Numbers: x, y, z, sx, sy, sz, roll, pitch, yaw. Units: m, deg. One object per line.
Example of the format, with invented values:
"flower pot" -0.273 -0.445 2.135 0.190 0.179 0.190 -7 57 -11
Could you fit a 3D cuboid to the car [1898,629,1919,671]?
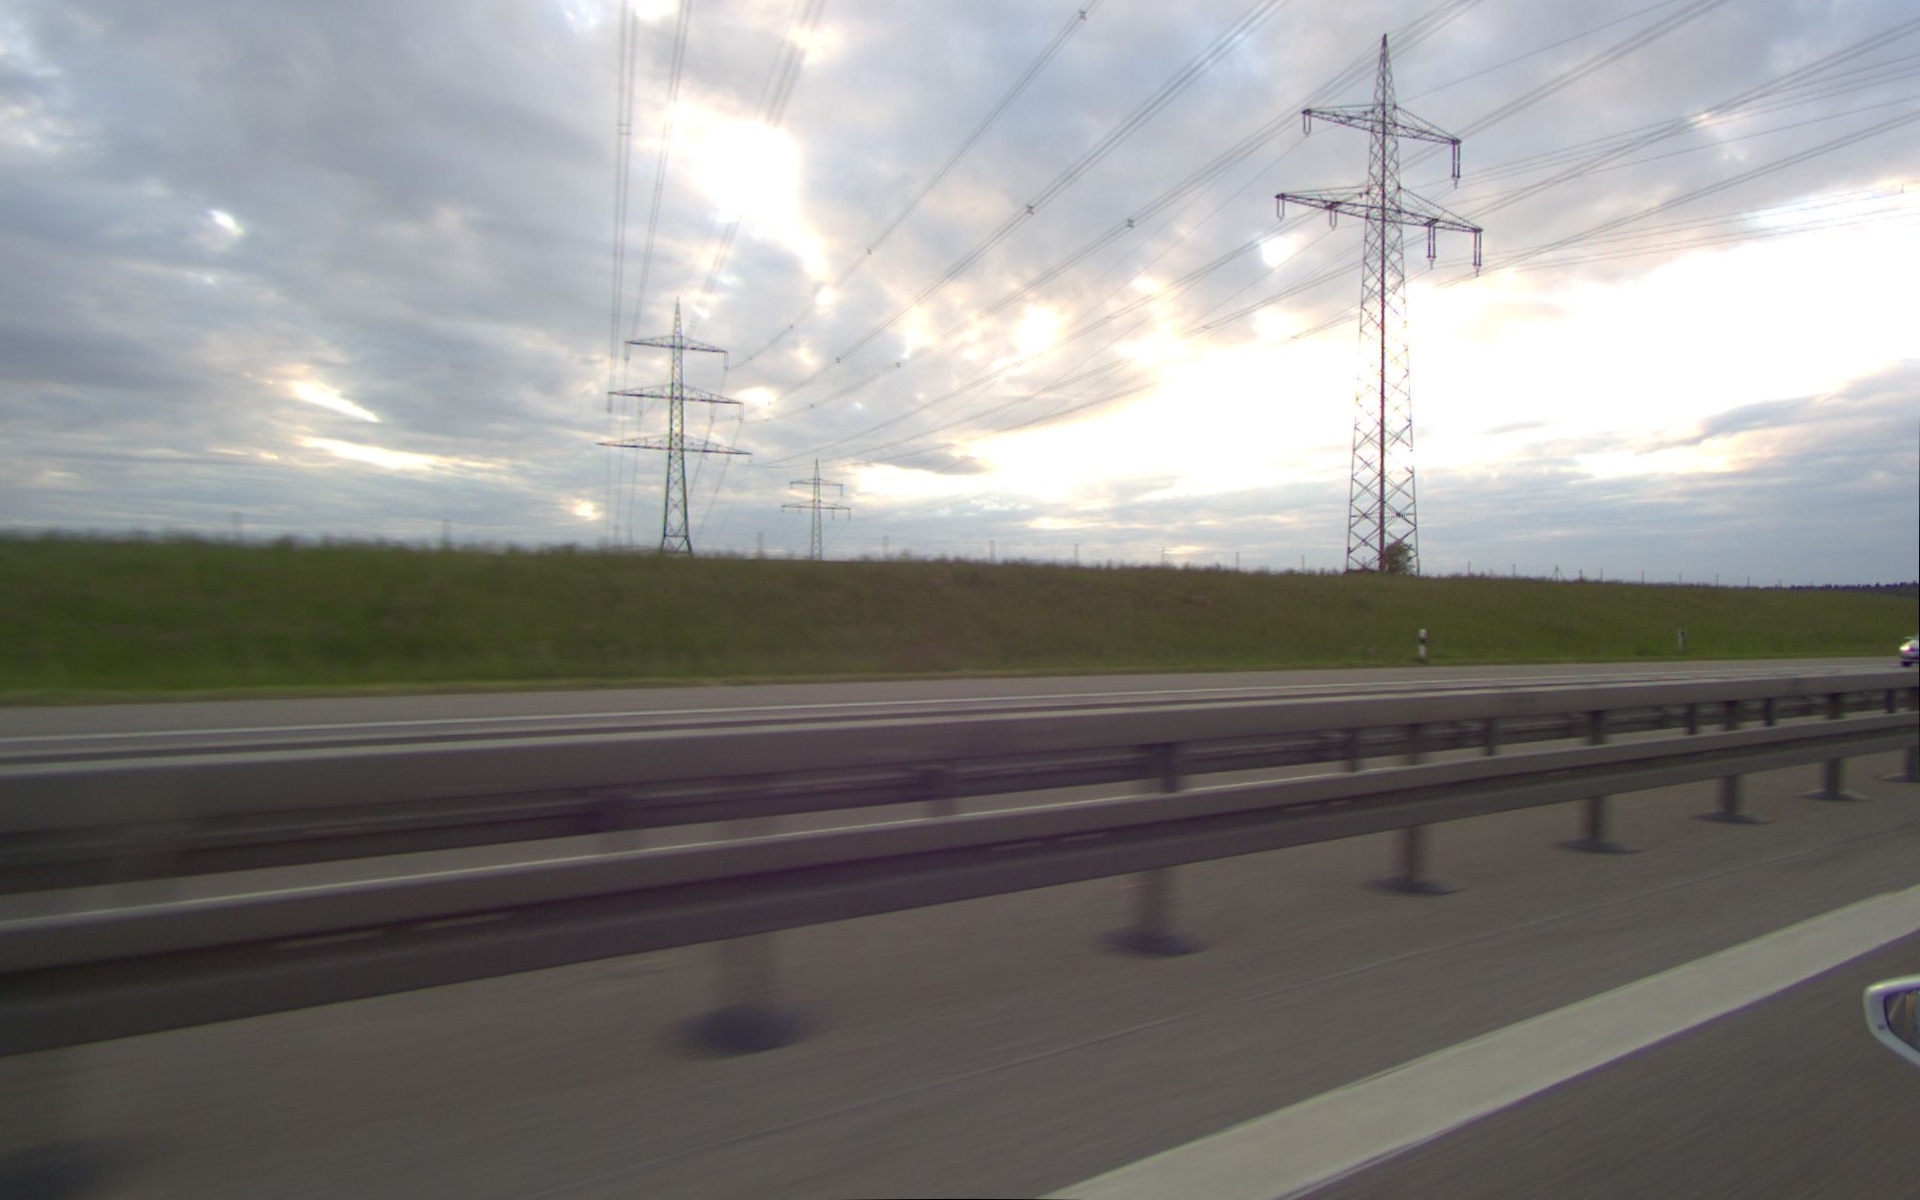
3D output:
"car" 37.234 1.860 37.513 5.271 1.502 1.756 1 1 -30
